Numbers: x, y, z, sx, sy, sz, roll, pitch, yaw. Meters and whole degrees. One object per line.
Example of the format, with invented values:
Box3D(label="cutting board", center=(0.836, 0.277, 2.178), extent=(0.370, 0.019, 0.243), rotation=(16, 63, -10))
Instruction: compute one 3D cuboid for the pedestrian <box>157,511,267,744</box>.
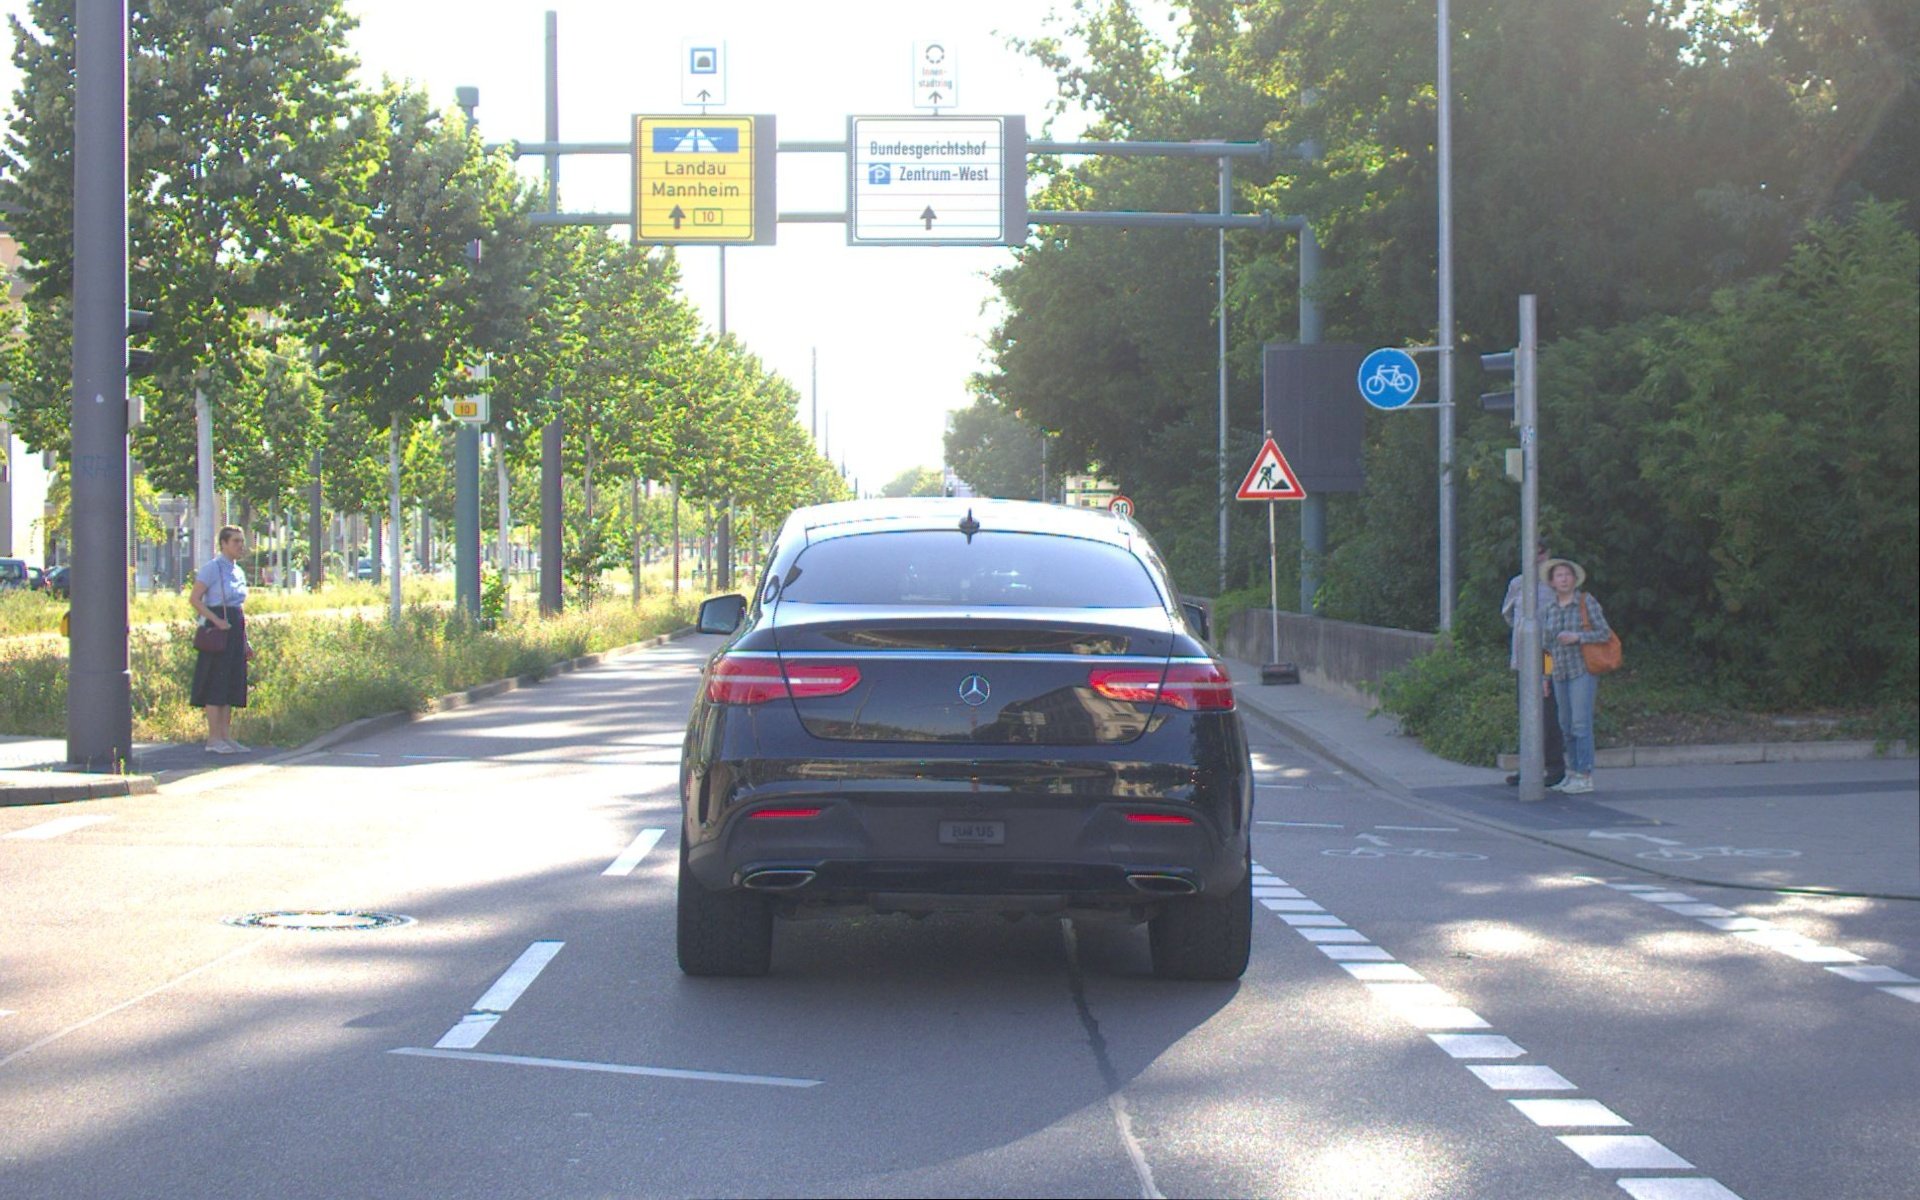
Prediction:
Box3D(label="pedestrian", center=(-5.517, 0.194, 25.374), extent=(0.598, 1.693, 0.714), rotation=(0, 1, 5))

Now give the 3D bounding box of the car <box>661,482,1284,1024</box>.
Box3D(label="car", center=(-0.052, 0.464, 13.134), extent=(1.993, 1.728, 4.001), rotation=(1, 1, -3))

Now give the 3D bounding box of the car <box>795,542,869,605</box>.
Box3D(label="car", center=(-3.399, -0.737, 92.036), extent=(1.885, 1.575, 4.000), rotation=(1, 1, -1))

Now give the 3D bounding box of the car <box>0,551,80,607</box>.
Box3D(label="car", center=(-31.393, -0.708, 114.226), extent=(3.748, 1.823, 1.824), rotation=(1, 1, -40))

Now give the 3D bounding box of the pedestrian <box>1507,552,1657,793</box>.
Box3D(label="pedestrian", center=(4.353, 0.493, 24.092), extent=(0.766, 1.631, 0.770), rotation=(-2, 1, -9))

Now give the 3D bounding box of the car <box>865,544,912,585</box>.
Box3D(label="car", center=(-2.908, -1.472, 140.225), extent=(1.885, 1.575, 4.000), rotation=(1, 1, -1))

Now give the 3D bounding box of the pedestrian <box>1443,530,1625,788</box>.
Box3D(label="pedestrian", center=(4.147, 0.415, 24.860), extent=(0.857, 1.796, 0.907), rotation=(-3, 1, -34))

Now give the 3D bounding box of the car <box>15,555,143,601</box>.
Box3D(label="car", center=(-31.627, -0.777, 123.457), extent=(3.989, 1.557, 1.999), rotation=(1, 1, -42))
